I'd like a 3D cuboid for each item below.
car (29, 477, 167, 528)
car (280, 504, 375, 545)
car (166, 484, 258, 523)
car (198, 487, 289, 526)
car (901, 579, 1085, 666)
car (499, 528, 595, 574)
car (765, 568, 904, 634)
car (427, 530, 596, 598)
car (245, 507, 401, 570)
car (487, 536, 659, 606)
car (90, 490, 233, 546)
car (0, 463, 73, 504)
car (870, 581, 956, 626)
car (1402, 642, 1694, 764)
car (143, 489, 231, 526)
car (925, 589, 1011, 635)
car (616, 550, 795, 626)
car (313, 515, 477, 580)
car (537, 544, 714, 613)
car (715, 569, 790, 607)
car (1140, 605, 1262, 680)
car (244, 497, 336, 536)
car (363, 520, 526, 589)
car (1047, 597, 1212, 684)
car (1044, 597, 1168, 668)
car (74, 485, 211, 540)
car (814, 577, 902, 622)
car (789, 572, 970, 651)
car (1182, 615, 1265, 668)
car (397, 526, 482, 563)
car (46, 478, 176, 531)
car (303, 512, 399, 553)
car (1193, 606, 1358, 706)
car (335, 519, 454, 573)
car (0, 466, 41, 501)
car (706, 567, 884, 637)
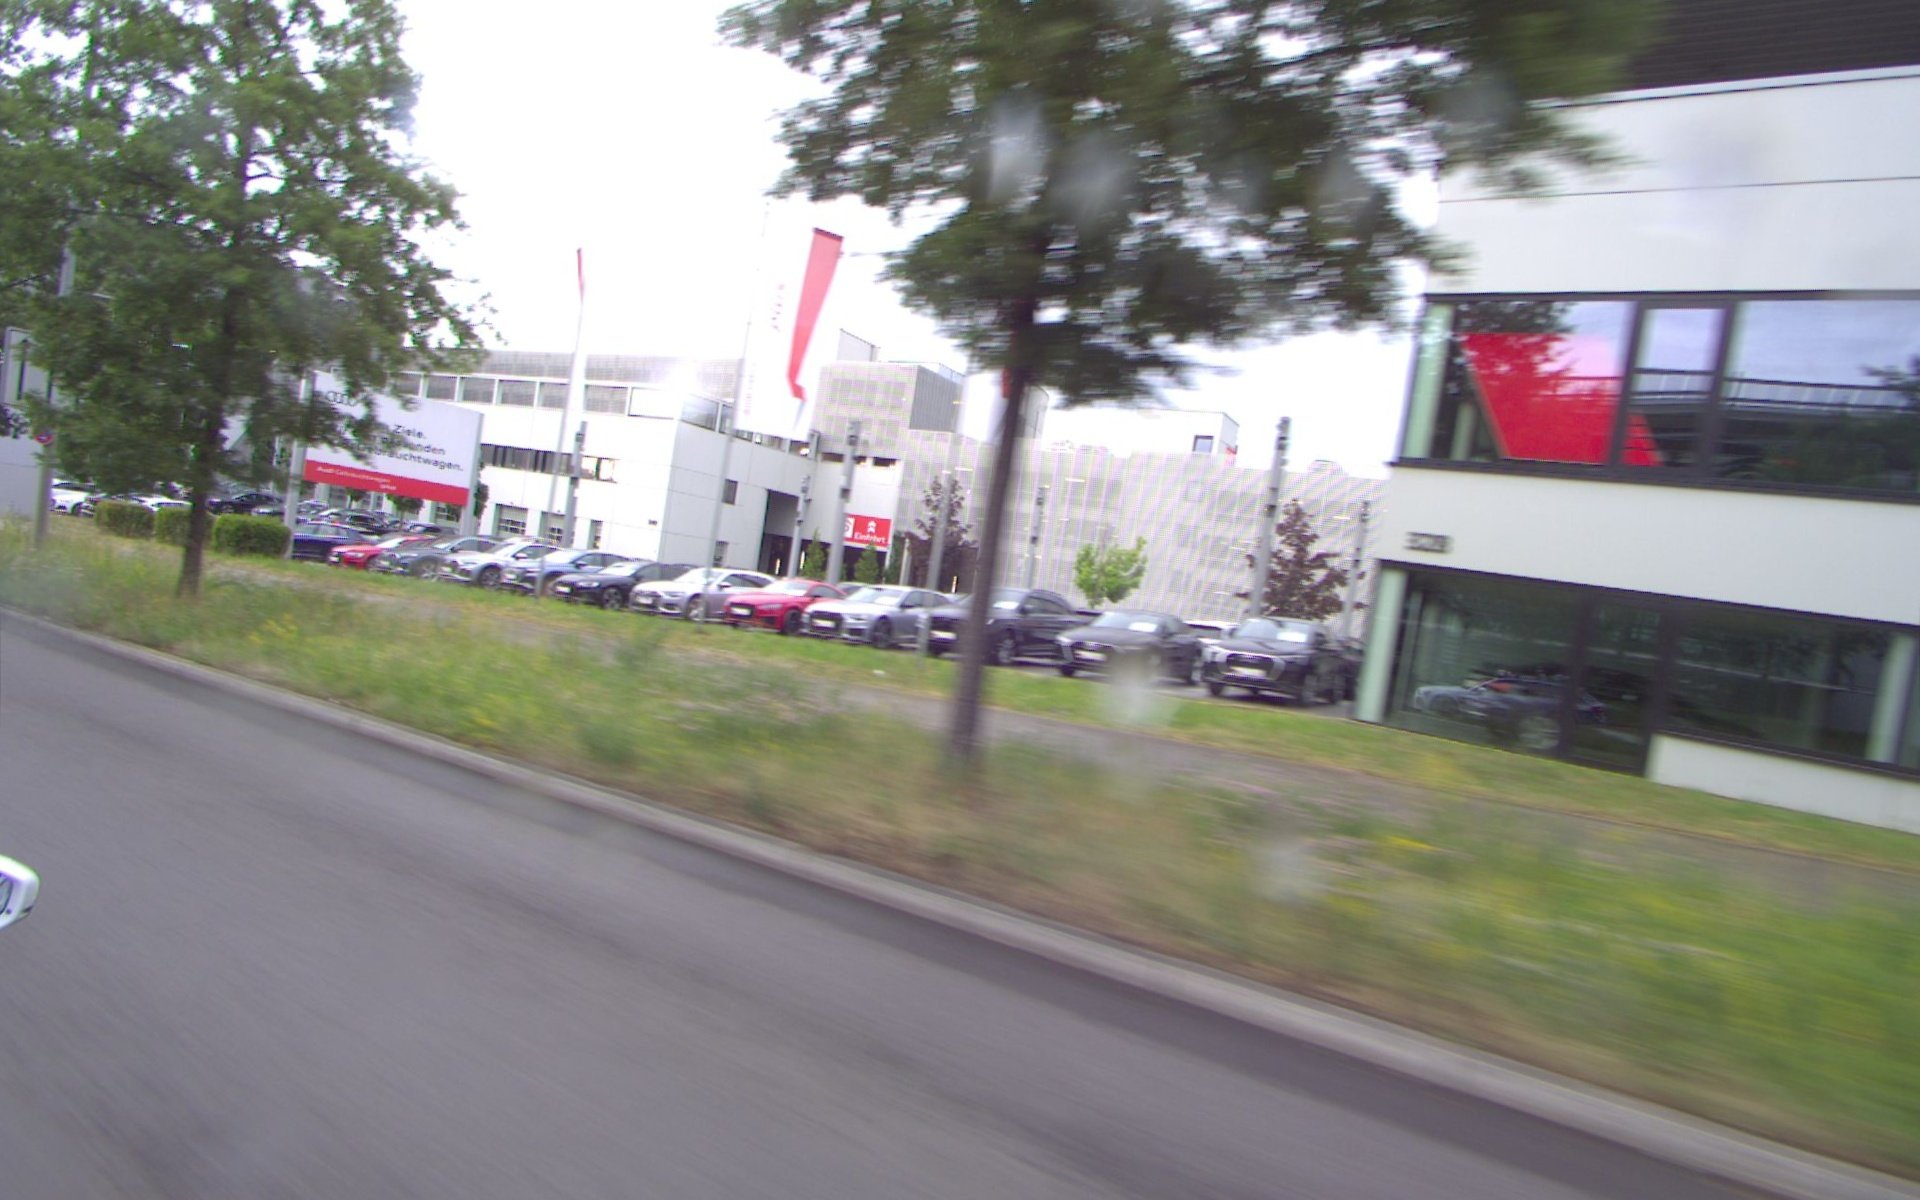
[{"bbox_3d":[-40.221,-4.533,47.066,1.664,1.613,4.527,6,-1,30],"label":"car"},{"bbox_3d":[-35.520,-4.214,56.573,1.664,1.593,4.113,7,-1,30],"label":"car"},{"bbox_3d":[-46.506,-5.982,62.620,1.795,1.592,4.114,8,-1,30],"label":"car"},{"bbox_3d":[-43.712,-5.700,61.495,1.664,1.593,4.112,9,0,30],"label":"car"},{"bbox_3d":[0.840,0.554,21.921,2.006,1.519,4.402,6,0,31],"label":"car"},{"bbox_3d":[-23.486,-2.748,57.341,1.968,1.877,4.530,8,-1,35],"label":"car"},{"bbox_3d":[-3.804,0.071,31.384,1.898,1.570,4.469,6,-1,29],"label":"car"},{"bbox_3d":[-13.885,-1.071,31.400,1.899,1.570,4.466,6,0,31],"label":"car"},{"bbox_3d":[-22.702,-2.171,35.962,4.279,1.613,1.838,7,0,0],"label":"car"},{"bbox_3d":[-11.384,-0.819,29.888,1.899,1.547,4.466,6,0,31],"label":"car"},{"bbox_3d":[-33.040,-3.350,41.765,1.913,1.613,4.119,6,-2,23],"label":"car"},{"bbox_3d":[-49.247,-6.186,52.441,1.664,1.592,4.114,8,-1,30],"label":"car"},{"bbox_3d":[-2.093,0.200,45.876,1.796,1.613,4.284,6,-1,29],"label":"car"},{"bbox_3d":[9.601,1.634,16.681,3.857,1.354,1.900,6,0,31],"label":"car"},{"bbox_3d":[-50.438,-6.029,65.731,1.664,1.592,4.114,8,-1,30],"label":"car"},{"bbox_3d":[0.418,0.555,44.322,1.796,1.613,4.284,6,-1,29],"label":"car"},{"bbox_3d":[-6.638,-0.262,26.706,1.899,1.473,4.468,6,-1,31],"label":"car"},{"bbox_3d":[-19.031,-1.720,34.119,1.897,1.570,4.471,6,-1,27],"label":"car"},{"bbox_3d":[-9.230,-0.549,28.158,1.899,1.474,4.466,6,0,31],"label":"car"},{"bbox_3d":[-11.060,-0.638,53.702,3.496,1.614,1.770,7,2,0],"label":"car"},{"bbox_3d":[6.204,1.139,25.542,1.796,1.570,4.284,6,-1,29],"label":"car"},{"bbox_3d":[-39.503,-4.909,59.427,1.664,1.593,4.112,7,-1,31],"label":"car"},{"bbox_3d":[-16.486,-1.420,32.379,1.796,1.613,4.284,6,-1,29],"label":"car"},{"bbox_3d":[3.509,0.840,20.146,1.805,1.395,4.326,6,0,29],"label":"car"},{"bbox_3d":[4.054,0.925,27.306,1.796,1.570,4.284,6,-1,29],"label":"car"},{"bbox_3d":[-35.244,-3.737,43.497,1.840,1.612,4.114,6,-2,30],"label":"car"},{"bbox_3d":[-4.618,-0.008,46.194,1.796,1.613,4.284,6,-1,29],"label":"car"},{"bbox_3d":[-1.745,0.325,23.331,1.859,1.445,4.402,6,0,31],"label":"car"},{"bbox_3d":[9.744,1.567,37.026,1.796,1.613,4.284,6,-1,29],"label":"car"},{"bbox_3d":[-30.895,-3.265,59.847,1.664,1.593,4.111,7,0,31],"label":"car"},{"bbox_3d":[-38.667,-4.323,45.924,1.664,1.612,4.114,6,-2,30],"label":"car"},{"bbox_3d":[-33.391,-3.664,55.257,1.664,1.593,4.113,6,-1,30],"label":"car"},{"bbox_3d":[6.095,1.088,19.075,1.899,1.499,4.404,6,-1,31],"label":"car"},{"bbox_3d":[-21.926,-2.074,39.100,3.496,1.614,1.770,7,2,0],"label":"car"},{"bbox_3d":[-53.699,-6.680,55.213,1.664,1.592,4.429,8,-1,30],"label":"car"},{"bbox_3d":[-3.961,0.090,24.959,1.899,1.365,4.401,6,0,31],"label":"car"}]
